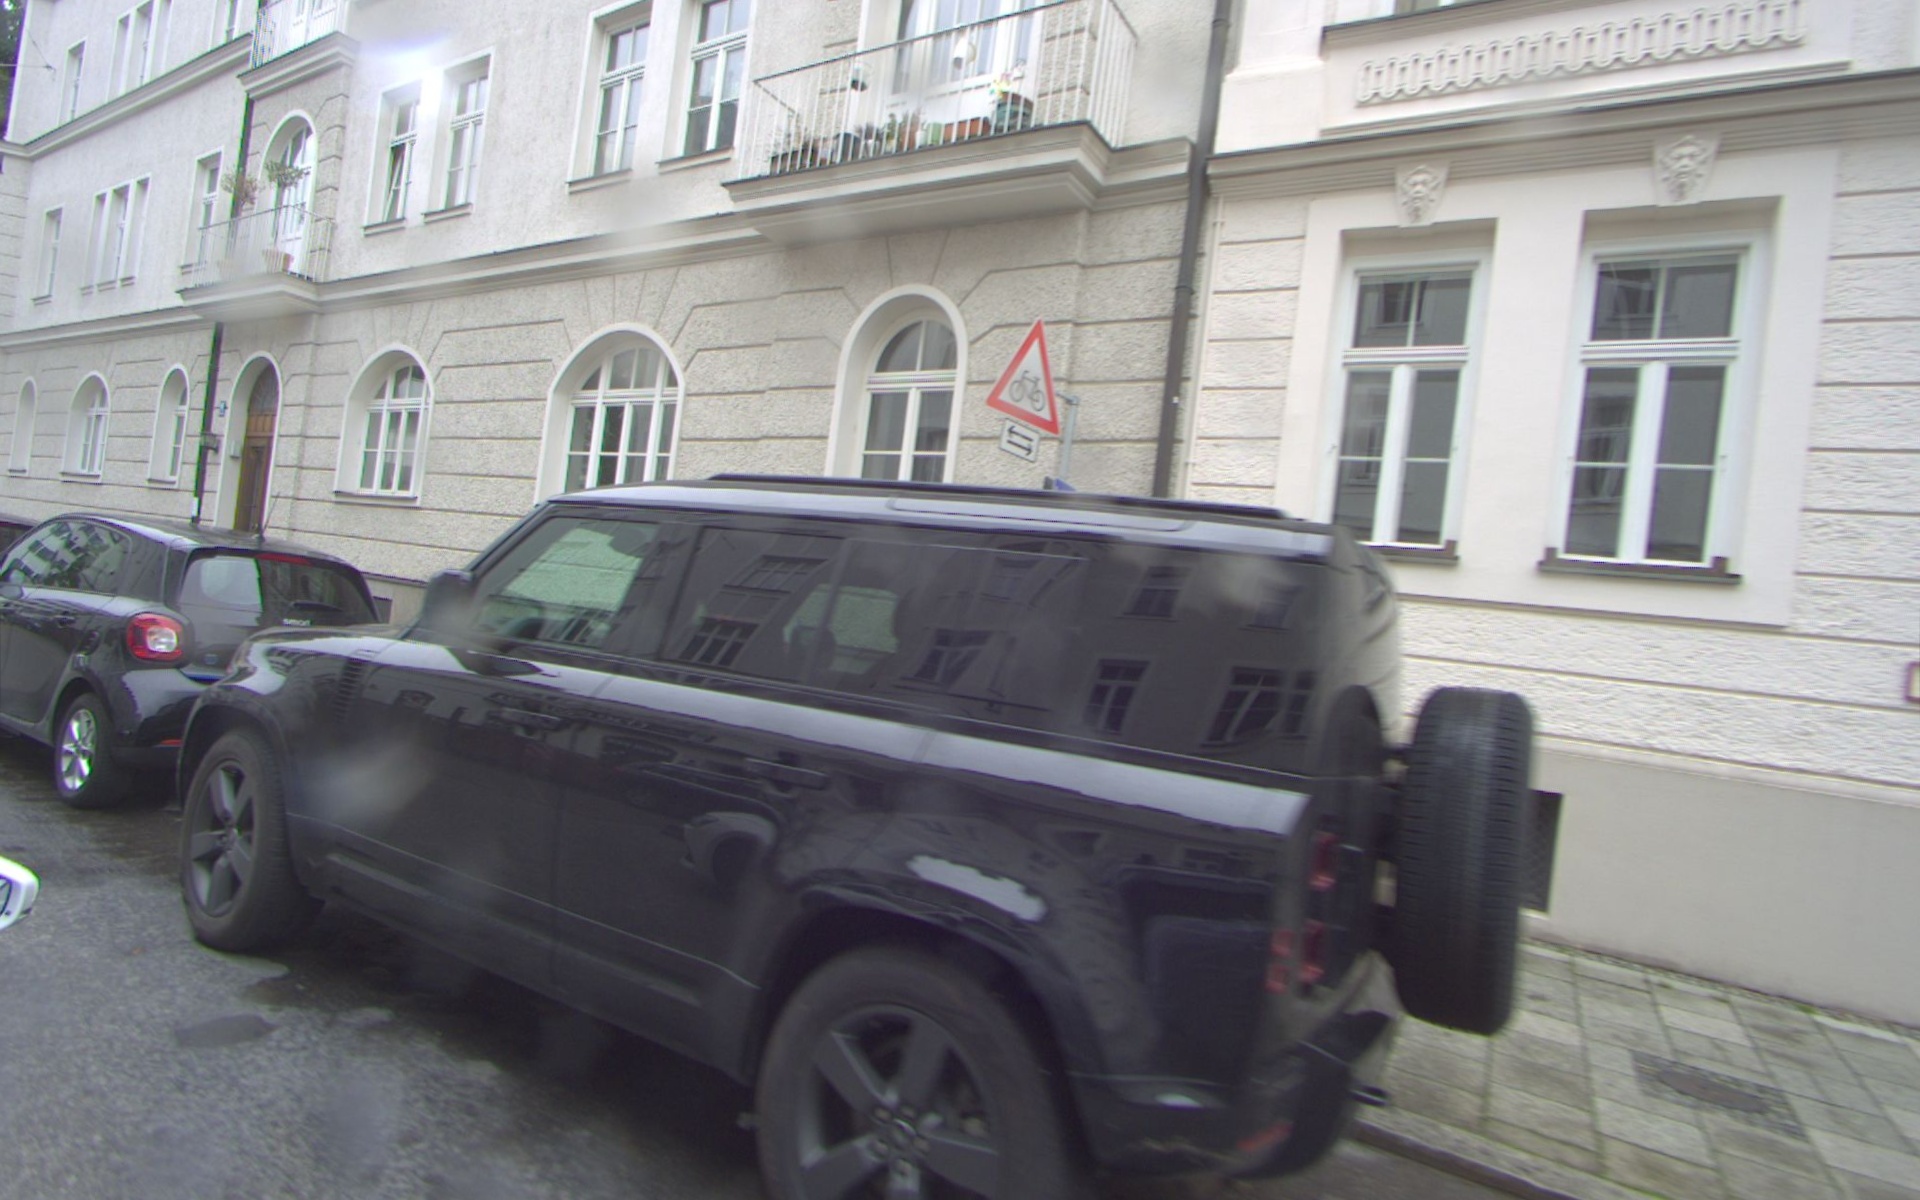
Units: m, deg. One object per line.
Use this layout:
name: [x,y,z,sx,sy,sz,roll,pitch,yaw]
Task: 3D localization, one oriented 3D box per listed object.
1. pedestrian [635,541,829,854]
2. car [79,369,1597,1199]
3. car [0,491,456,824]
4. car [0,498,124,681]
pedestrian: [-1.395,0.579,6.223,0.691,1.749,0.704,7,0,28]
car: [-0.707,0.514,3.464,4.634,1.904,1.918,6,-4,30]
car: [-5.198,0.237,6.501,3.576,1.542,1.659,7,-3,31]
car: [-9.754,-0.301,9.453,4.134,1.487,1.709,6,-2,34]
